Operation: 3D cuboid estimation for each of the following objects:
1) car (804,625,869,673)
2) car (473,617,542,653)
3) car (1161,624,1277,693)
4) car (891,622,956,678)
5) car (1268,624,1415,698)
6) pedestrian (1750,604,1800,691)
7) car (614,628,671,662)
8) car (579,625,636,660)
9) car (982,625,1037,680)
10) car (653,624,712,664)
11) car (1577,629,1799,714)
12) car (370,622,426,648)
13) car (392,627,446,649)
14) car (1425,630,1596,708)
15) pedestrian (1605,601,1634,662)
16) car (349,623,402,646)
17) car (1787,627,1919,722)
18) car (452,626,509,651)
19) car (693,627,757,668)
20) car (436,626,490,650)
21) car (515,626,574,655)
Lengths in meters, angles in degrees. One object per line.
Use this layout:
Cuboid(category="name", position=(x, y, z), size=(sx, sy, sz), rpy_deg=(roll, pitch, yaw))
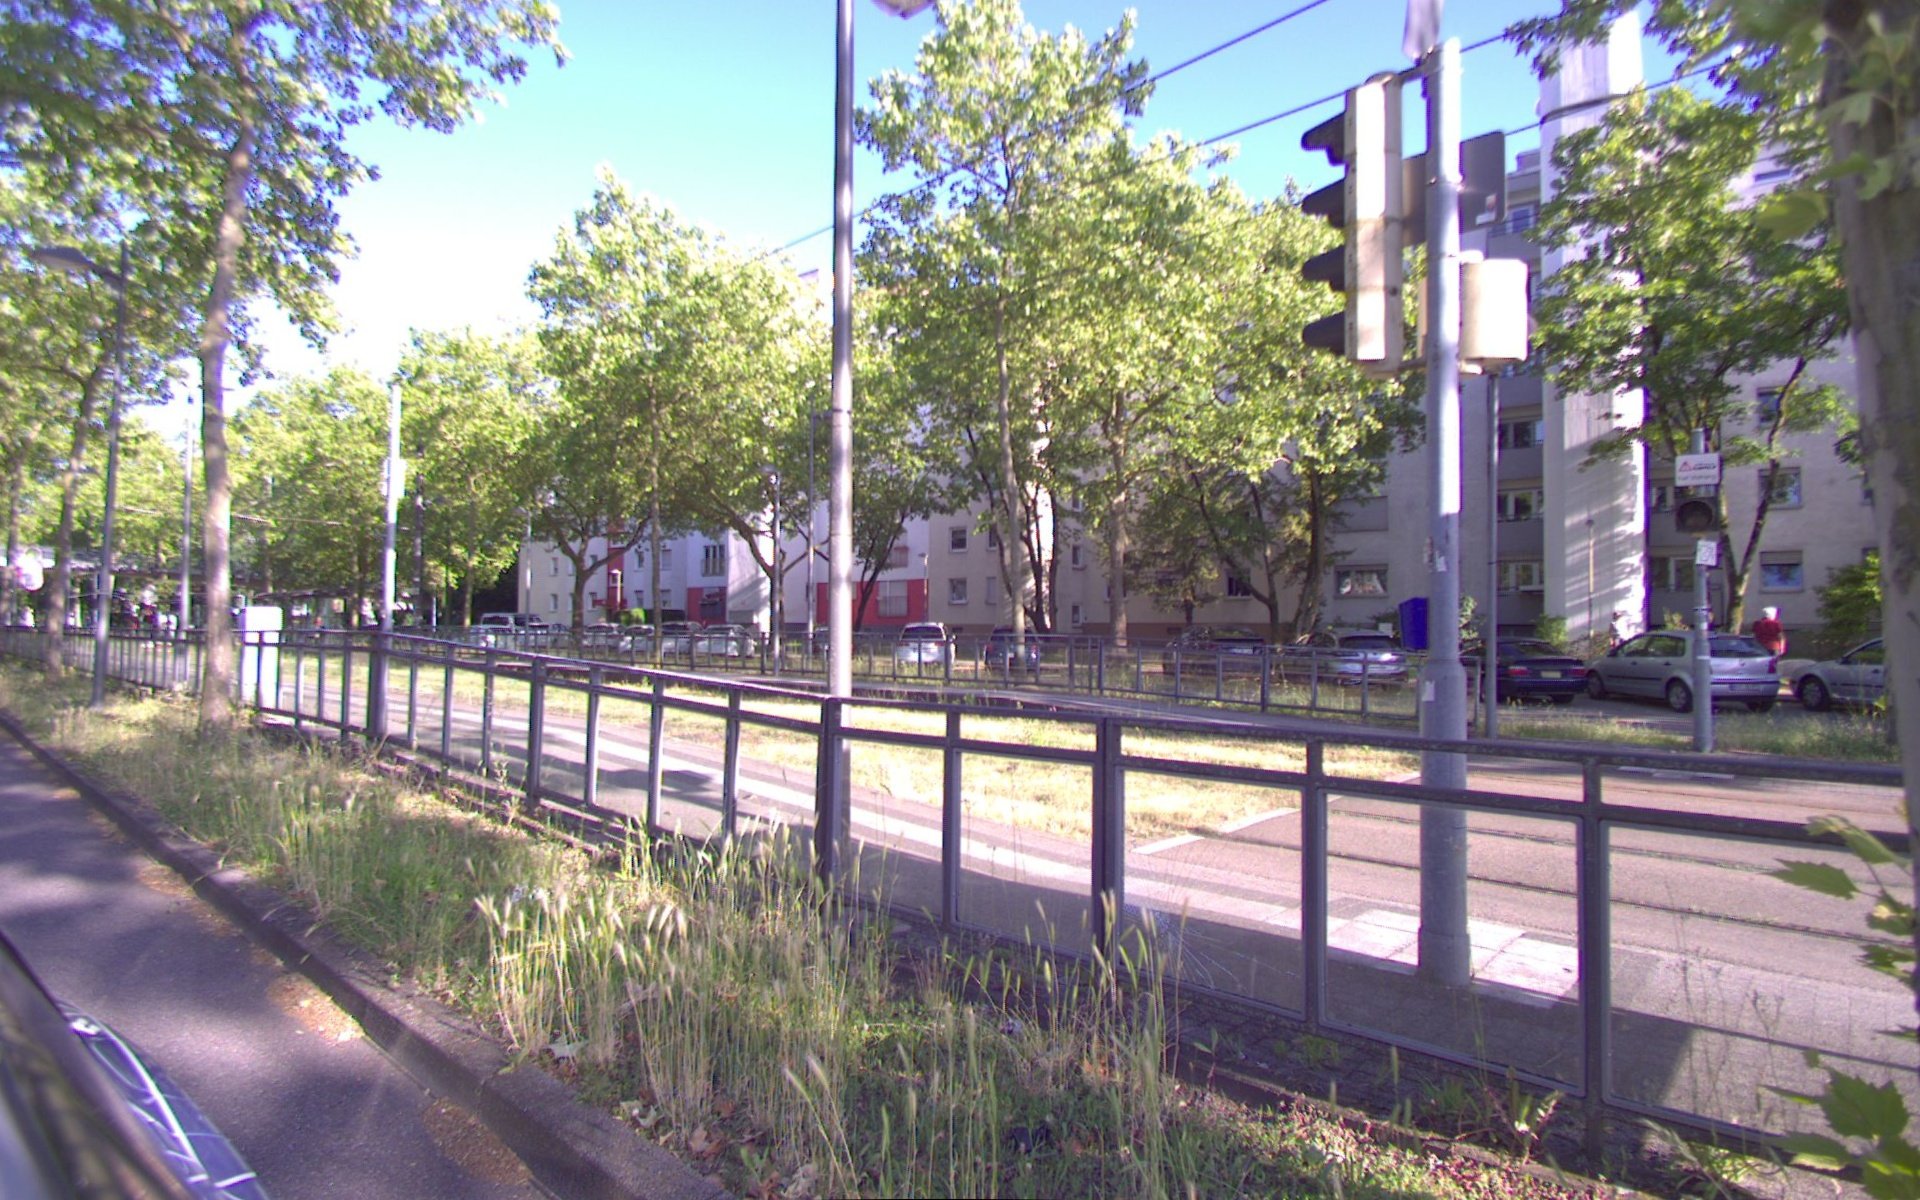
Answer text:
Cuboid(category="car", position=(-4.287, 1.677, 35.530), size=(1.609, 1.499, 3.996), rpy_deg=(-1, 0, 3))
Cuboid(category="car", position=(-23.739, 1.800, 53.237), size=(1.843, 1.826, 4.048), rpy_deg=(0, -1, -1))
Cuboid(category="car", position=(6.456, 1.421, 25.688), size=(1.669, 1.499, 4.003), rpy_deg=(-1, 0, -3))
Cuboid(category="car", position=(-1.128, 1.591, 33.070), size=(1.791, 1.607, 3.996), rpy_deg=(-1, 0, 3))
Cuboid(category="car", position=(8.769, 1.356, 23.642), size=(1.650, 1.469, 4.004), rpy_deg=(-1, 0, -4))
Cuboid(category="pedestrian", position=(17.004, 0.969, 21.123), size=(0.755, 1.770, 0.752), rpy_deg=(-1, -2, 42))
Cuboid(category="car", position=(-14.216, 2.003, 45.453), size=(1.459, 1.339, 3.488), rpy_deg=(-2, 0, -1))
Cuboid(category="car", position=(-16.371, 1.947, 47.133), size=(1.539, 1.436, 3.489), rpy_deg=(-3, 0, -2))
Cuboid(category="car", position=(1.493, 1.544, 30.574), size=(1.538, 1.439, 3.761), rpy_deg=(-1, 0, 3))
Cuboid(category="car", position=(-11.760, 1.847, 43.037), size=(1.445, 1.519, 3.393), rpy_deg=(-1, 0, 3))
Cuboid(category="car", position=(13.817, 1.301, 19.482), size=(1.553, 1.431, 3.620), rpy_deg=(-1, -1, -1))
Cuboid(category="car", position=(-35.596, 2.213, 64.148), size=(1.578, 1.582, 3.830), rpy_deg=(0, -1, -3))
Cuboid(category="car", position=(-33.101, 2.304, 62.005), size=(1.459, 1.330, 3.487), rpy_deg=(0, -1, -1))
Cuboid(category="car", position=(11.383, 1.368, 21.255), size=(1.572, 1.360, 3.922), rpy_deg=(-1, 0, 3))
Cuboid(category="pedestrian", position=(19.479, 0.916, 29.884), size=(0.634, 1.770, 0.516), rpy_deg=(-1, -2, 39))
Cuboid(category="car", position=(-39.920, 2.364, 69.177), size=(1.578, 1.538, 3.737), rpy_deg=(0, -1, -3))
Cuboid(category="car", position=(16.167, 1.215, 16.682), size=(1.685, 1.454, 3.978), rpy_deg=(-1, 0, -1))
Cuboid(category="car", position=(-26.175, 2.089, 55.343), size=(1.459, 1.354, 3.487), rpy_deg=(0, -1, -1))
Cuboid(category="car", position=(-9.371, 1.864, 40.609), size=(1.470, 1.425, 3.880), rpy_deg=(-1, 0, 3))
Cuboid(category="car", position=(-28.453, 2.178, 58.047), size=(1.459, 1.311, 3.487), rpy_deg=(0, -1, -1))
Cuboid(category="car", position=(-21.033, 2.024, 51.378), size=(1.605, 1.414, 3.487), rpy_deg=(0, -1, -1))
